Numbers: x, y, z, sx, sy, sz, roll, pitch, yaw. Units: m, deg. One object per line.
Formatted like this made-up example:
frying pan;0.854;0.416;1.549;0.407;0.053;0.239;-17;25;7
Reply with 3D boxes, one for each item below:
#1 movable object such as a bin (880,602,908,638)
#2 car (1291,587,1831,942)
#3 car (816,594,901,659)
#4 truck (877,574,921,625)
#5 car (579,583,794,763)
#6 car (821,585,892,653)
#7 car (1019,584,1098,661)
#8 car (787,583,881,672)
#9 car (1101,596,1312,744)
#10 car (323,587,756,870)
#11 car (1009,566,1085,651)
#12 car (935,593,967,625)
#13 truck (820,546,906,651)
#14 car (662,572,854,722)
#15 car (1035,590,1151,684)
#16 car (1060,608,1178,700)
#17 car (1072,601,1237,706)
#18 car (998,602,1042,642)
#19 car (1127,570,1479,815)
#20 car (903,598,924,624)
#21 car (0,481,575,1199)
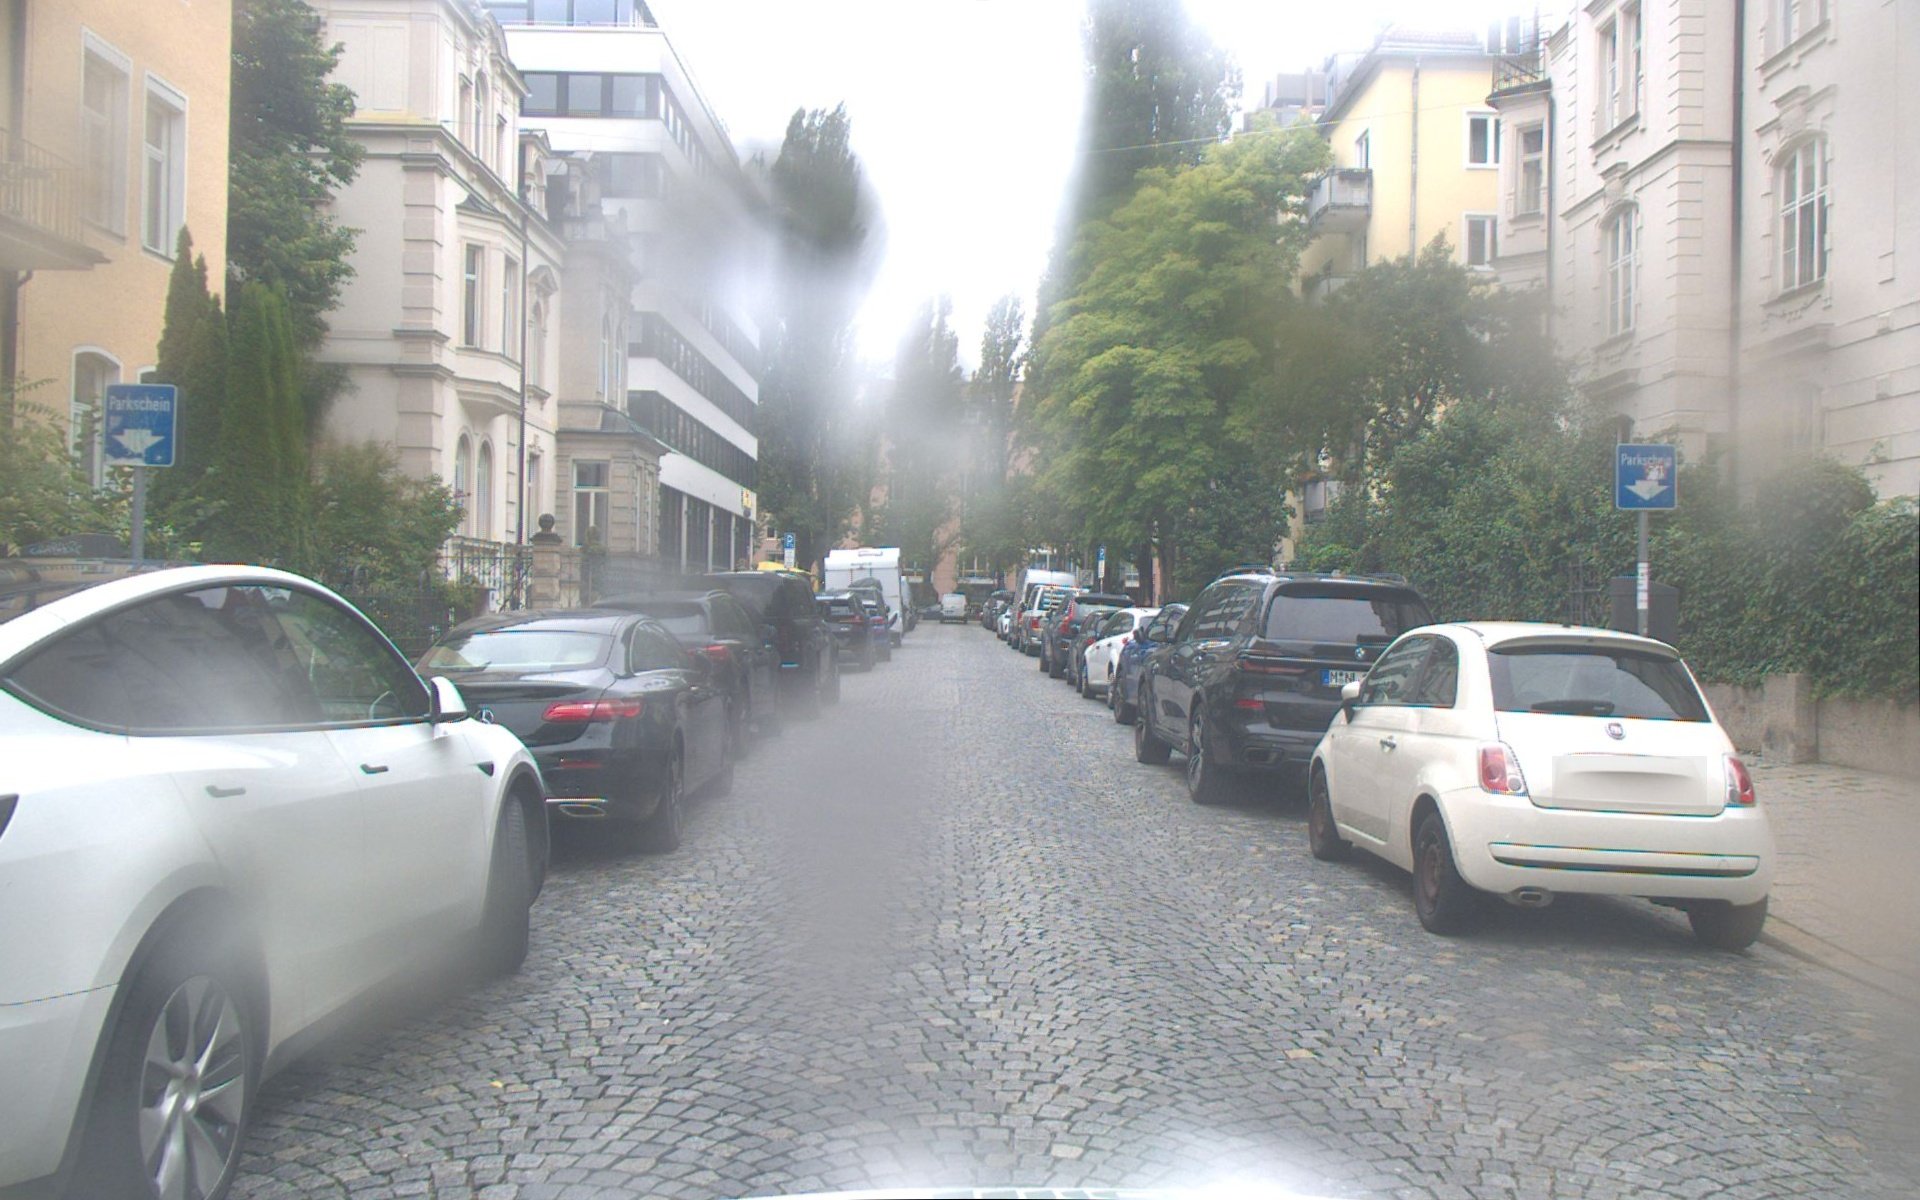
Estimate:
movable object such as a bin;-2.621;0.808;65.875;1.042;1.387;1.289;2;-1;-1
car;3.066;0.756;9.248;1.597;1.495;3.658;3;-1;-1
car;-2.463;0.638;40.867;1.901;1.485;4.056;2;-1;-2
truck;-2.961;0.004;80.937;1.953;2.388;4.067;2;-1;-1
car;-2.693;0.691;17.085;1.547;1.618;4.055;-1;-1;0
car;-2.836;0.509;46.126;1.856;1.781;4.166;1;0;-2
car;2.795;0.647;47.906;1.764;1.983;4.859;4;-1;-1
car;-2.655;0.586;35.616;1.738;1.748;4.389;2;-1;-1
car;2.874;0.783;20.164;1.675;1.508;4.247;4;-1;-3
car;-2.506;0.708;10.990;1.737;1.454;4.390;2;-1;0
car;2.757;0.243;53.524;1.857;2.468;5.610;5;0;-1
car;-0.579;0.582;107.215;1.955;1.970;4.000;1;-1;1
truck;-2.982;-0.048;52.182;2.457;3.085;6.382;-1;0;-2
car;-2.601;0.568;22.444;1.942;1.768;4.722;2;0;0
car;2.736;0.746;34.961;1.923;1.789;4.953;2;-1;-1
car;2.840;0.943;30.326;1.649;1.478;3.965;3;-1;-1
car;2.917;0.783;25.720;1.739;1.454;4.387;2;-1;-4
car;2.371;0.861;66.064;1.567;1.512;3.478;2;-1;-1
car;2.747;0.694;14.616;1.837;1.702;5.489;2;-1;-1
car;-2.964;0.717;106.830;1.250;1.568;3.118;2;-1;-1
car;-2.571;0.662;5.007;1.737;1.676;4.391;-1;-1;0
